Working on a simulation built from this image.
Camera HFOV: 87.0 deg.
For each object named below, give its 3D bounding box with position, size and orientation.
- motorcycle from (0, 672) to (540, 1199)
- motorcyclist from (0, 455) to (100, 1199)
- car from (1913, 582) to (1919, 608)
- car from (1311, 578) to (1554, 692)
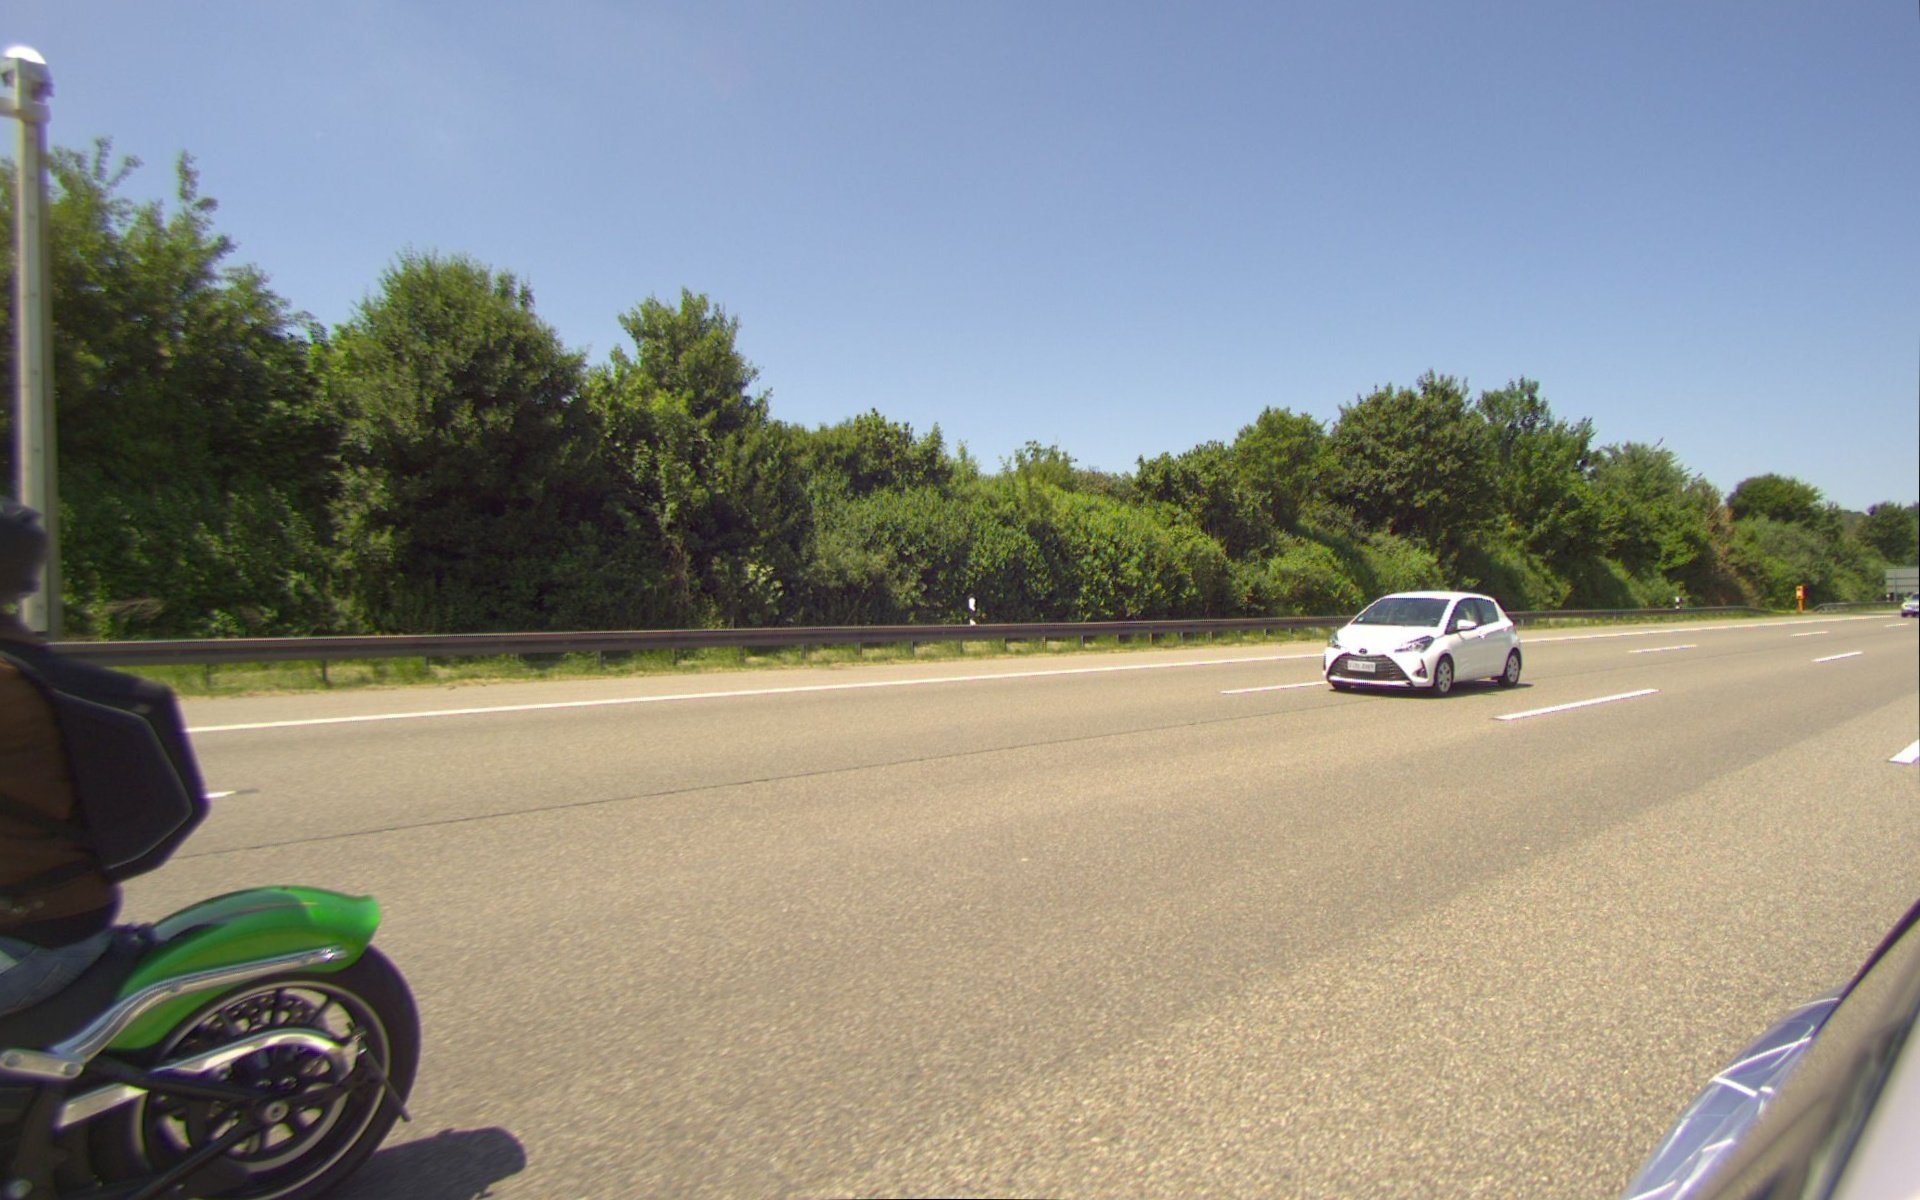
[{"bbox_3d":[-2.085,0.774,1.821,2.390,1.150,0.537,0,1,-35],"label":"motorcycle"},{"bbox_3d":[-2.182,0.478,1.722,1.004,1.445,0.855,0,0,-35],"label":"motorcyclist"},{"bbox_3d":[62.020,-0.332,64.042,3.928,1.549,1.998,-1,1,-38],"label":"car"},{"bbox_3d":[7.435,0.458,15.729,4.405,1.538,1.753,0,1,-40],"label":"car"}]
